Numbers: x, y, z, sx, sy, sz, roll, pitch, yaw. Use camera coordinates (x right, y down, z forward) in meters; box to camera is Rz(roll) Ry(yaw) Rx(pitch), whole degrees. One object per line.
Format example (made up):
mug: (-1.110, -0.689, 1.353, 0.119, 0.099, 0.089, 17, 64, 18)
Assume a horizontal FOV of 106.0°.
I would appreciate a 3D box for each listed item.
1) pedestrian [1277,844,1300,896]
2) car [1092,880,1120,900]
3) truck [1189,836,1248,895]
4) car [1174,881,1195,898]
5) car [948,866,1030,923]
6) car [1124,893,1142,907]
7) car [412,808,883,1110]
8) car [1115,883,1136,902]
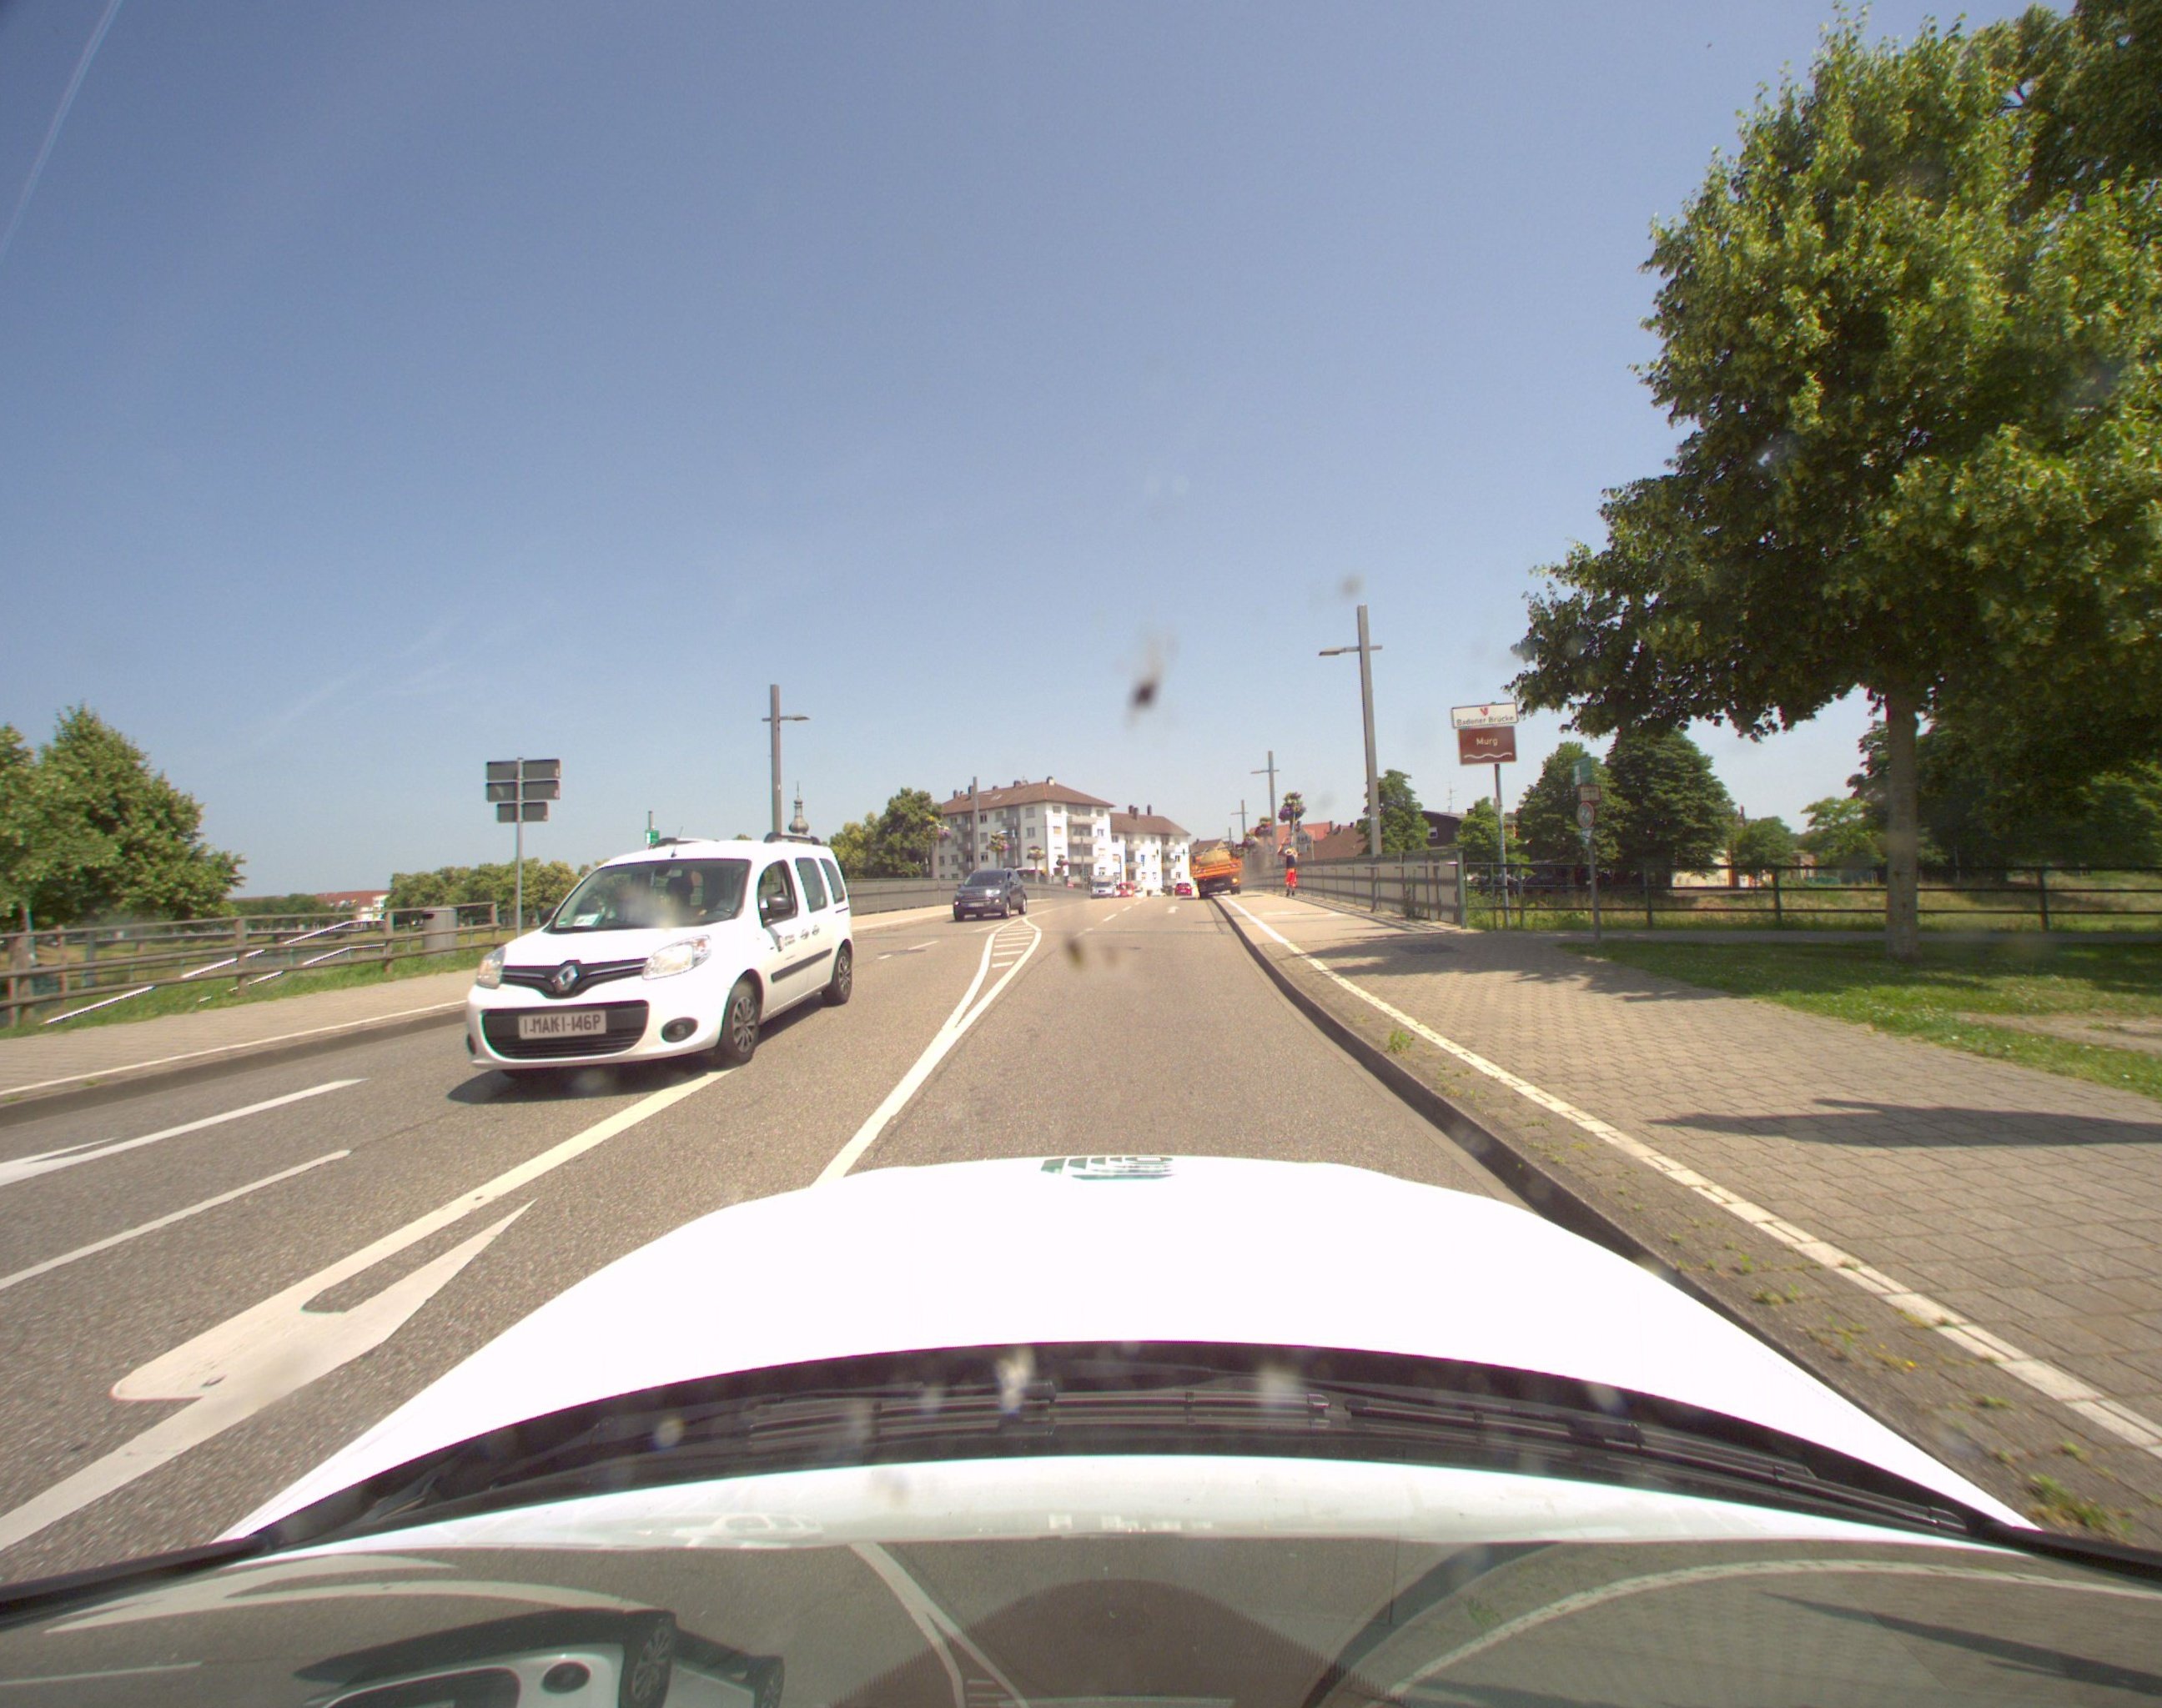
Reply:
pedestrian: (7.993, 0.619, 31.327, 0.541, 1.960, 0.677, -5, -5, 38)
car: (1.994, 2.811, 63.916, 1.689, 1.359, 4.465, -4, -2, 8)
truck: (6.894, 0.645, 41.300, 2.591, 2.691, 5.835, -3, -3, 8)
car: (10.492, 3.632, 82.770, 1.980, 1.613, 4.348, -3, -3, 6)
car: (-2.977, 1.304, 27.041, 1.728, 1.641, 3.928, -4, -2, 7)
car: (6.073, 5.332, 94.466, 1.835, 1.432, 4.720, -3, -4, 6)
car: (-3.394, 0.711, 7.633, 1.831, 1.860, 4.662, -3, -1, 0)
car: (4.334, 3.747, 79.145, 1.727, 1.777, 4.184, -2, -3, 7)
